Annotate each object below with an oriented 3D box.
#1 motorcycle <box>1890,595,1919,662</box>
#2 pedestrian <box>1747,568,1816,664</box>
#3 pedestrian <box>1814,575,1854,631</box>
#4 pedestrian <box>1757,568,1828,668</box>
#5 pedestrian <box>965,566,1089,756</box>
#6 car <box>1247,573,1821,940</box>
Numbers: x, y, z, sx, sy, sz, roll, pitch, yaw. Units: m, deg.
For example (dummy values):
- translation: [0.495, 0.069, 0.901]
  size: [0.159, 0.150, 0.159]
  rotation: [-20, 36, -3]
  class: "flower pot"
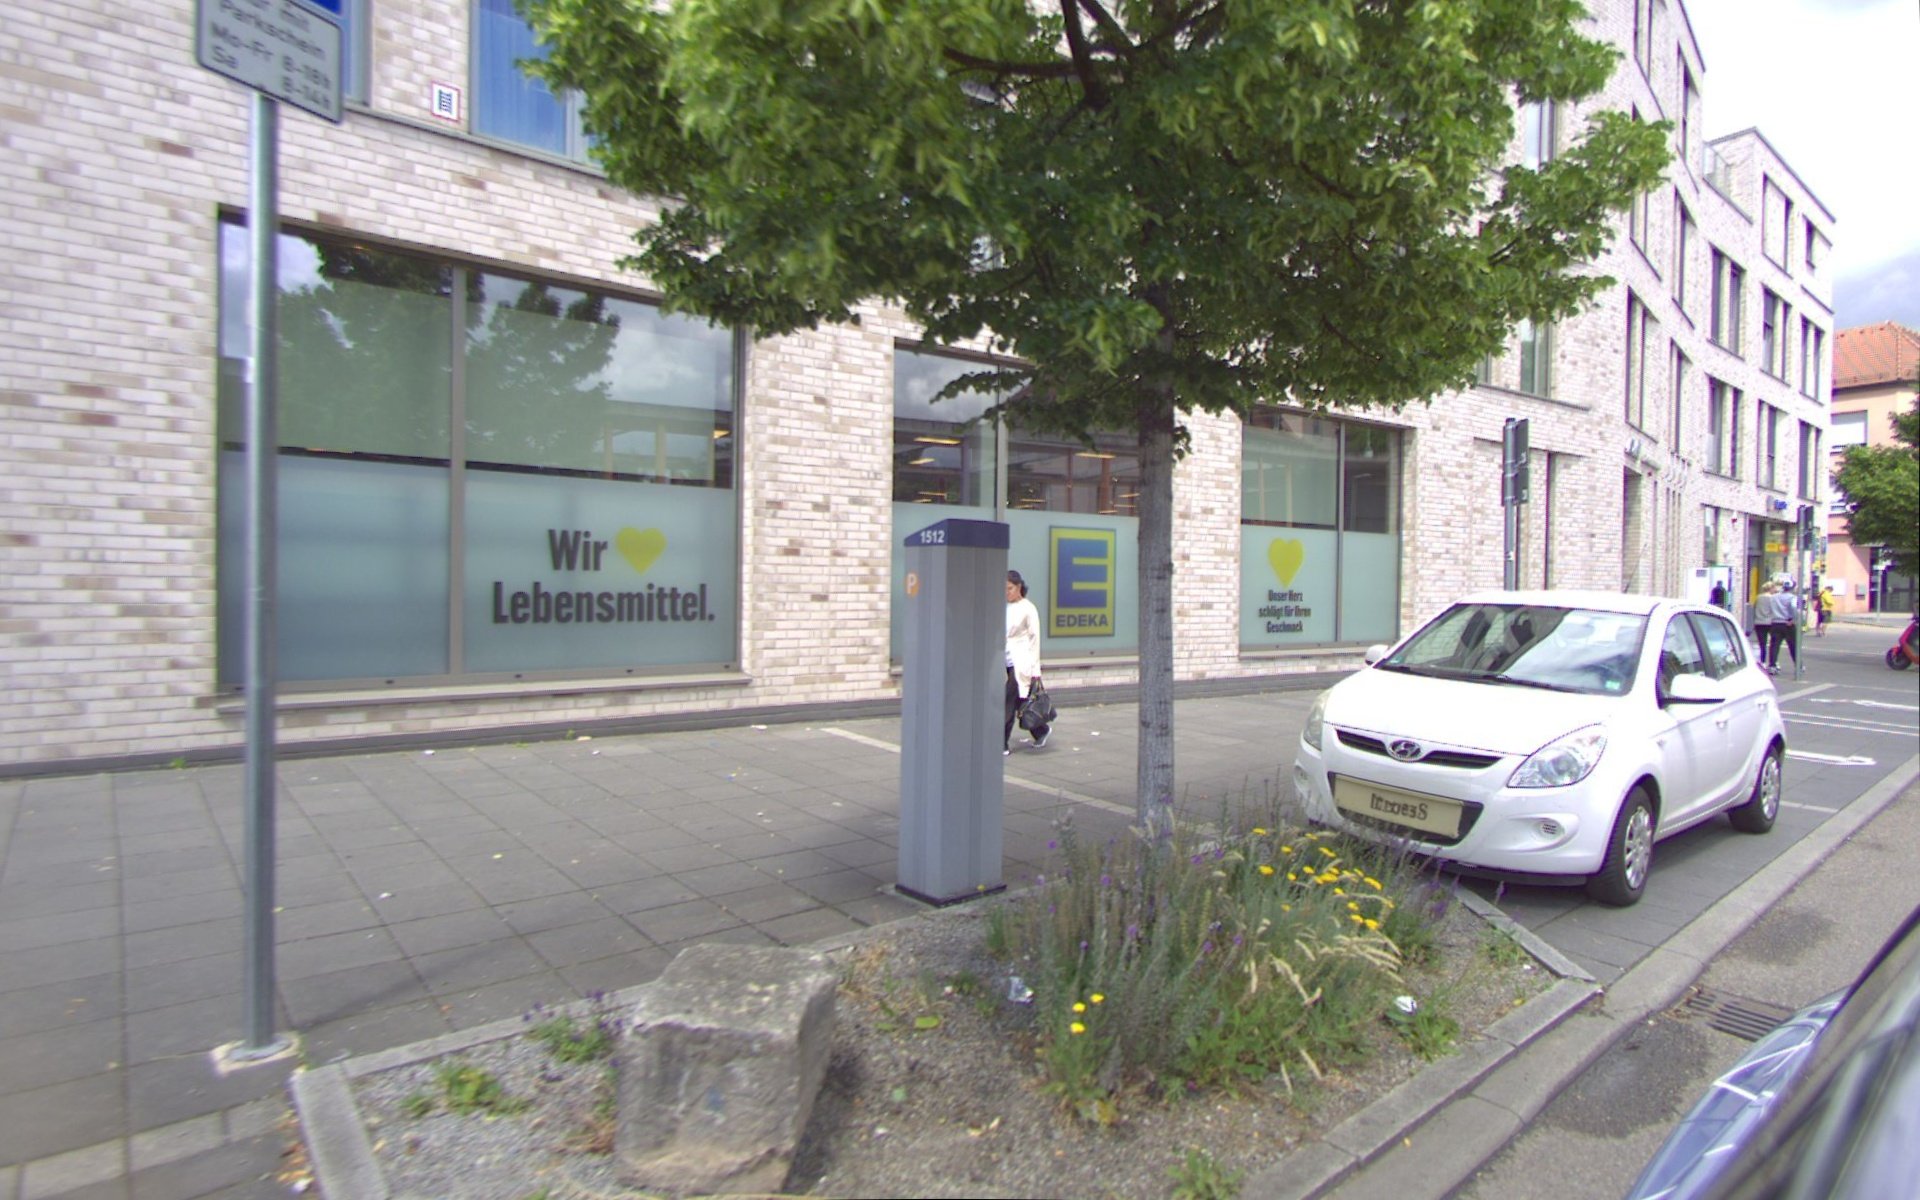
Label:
- translation: [19.498, 0.608, 19.603]
  size: [0.658, 1.281, 2.062]
  rotation: [0, 3, -22]
  class: "motorcycle"
- translation: [15.776, 0.280, 19.448]
  size: [0.720, 1.788, 0.759]
  rotation: [-1, 2, -28]
  class: "pedestrian"
- translation: [27.260, 0.075, 31.558]
  size: [0.620, 1.713, 0.660]
  rotation: [1, 1, 1]
  class: "pedestrian"
- translation: [15.195, 0.314, 18.487]
  size: [0.723, 1.788, 0.624]
  rotation: [0, 2, -4]
  class: "pedestrian"
- translation: [0.556, 0.475, 8.447]
  size: [0.775, 1.490, 0.610]
  rotation: [1, 2, -32]
  class: "pedestrian"
- translation: [3.598, 0.645, 6.108]
  size: [3.728, 1.501, 1.697]
  rotation: [0, 3, -38]
  class: "car"
